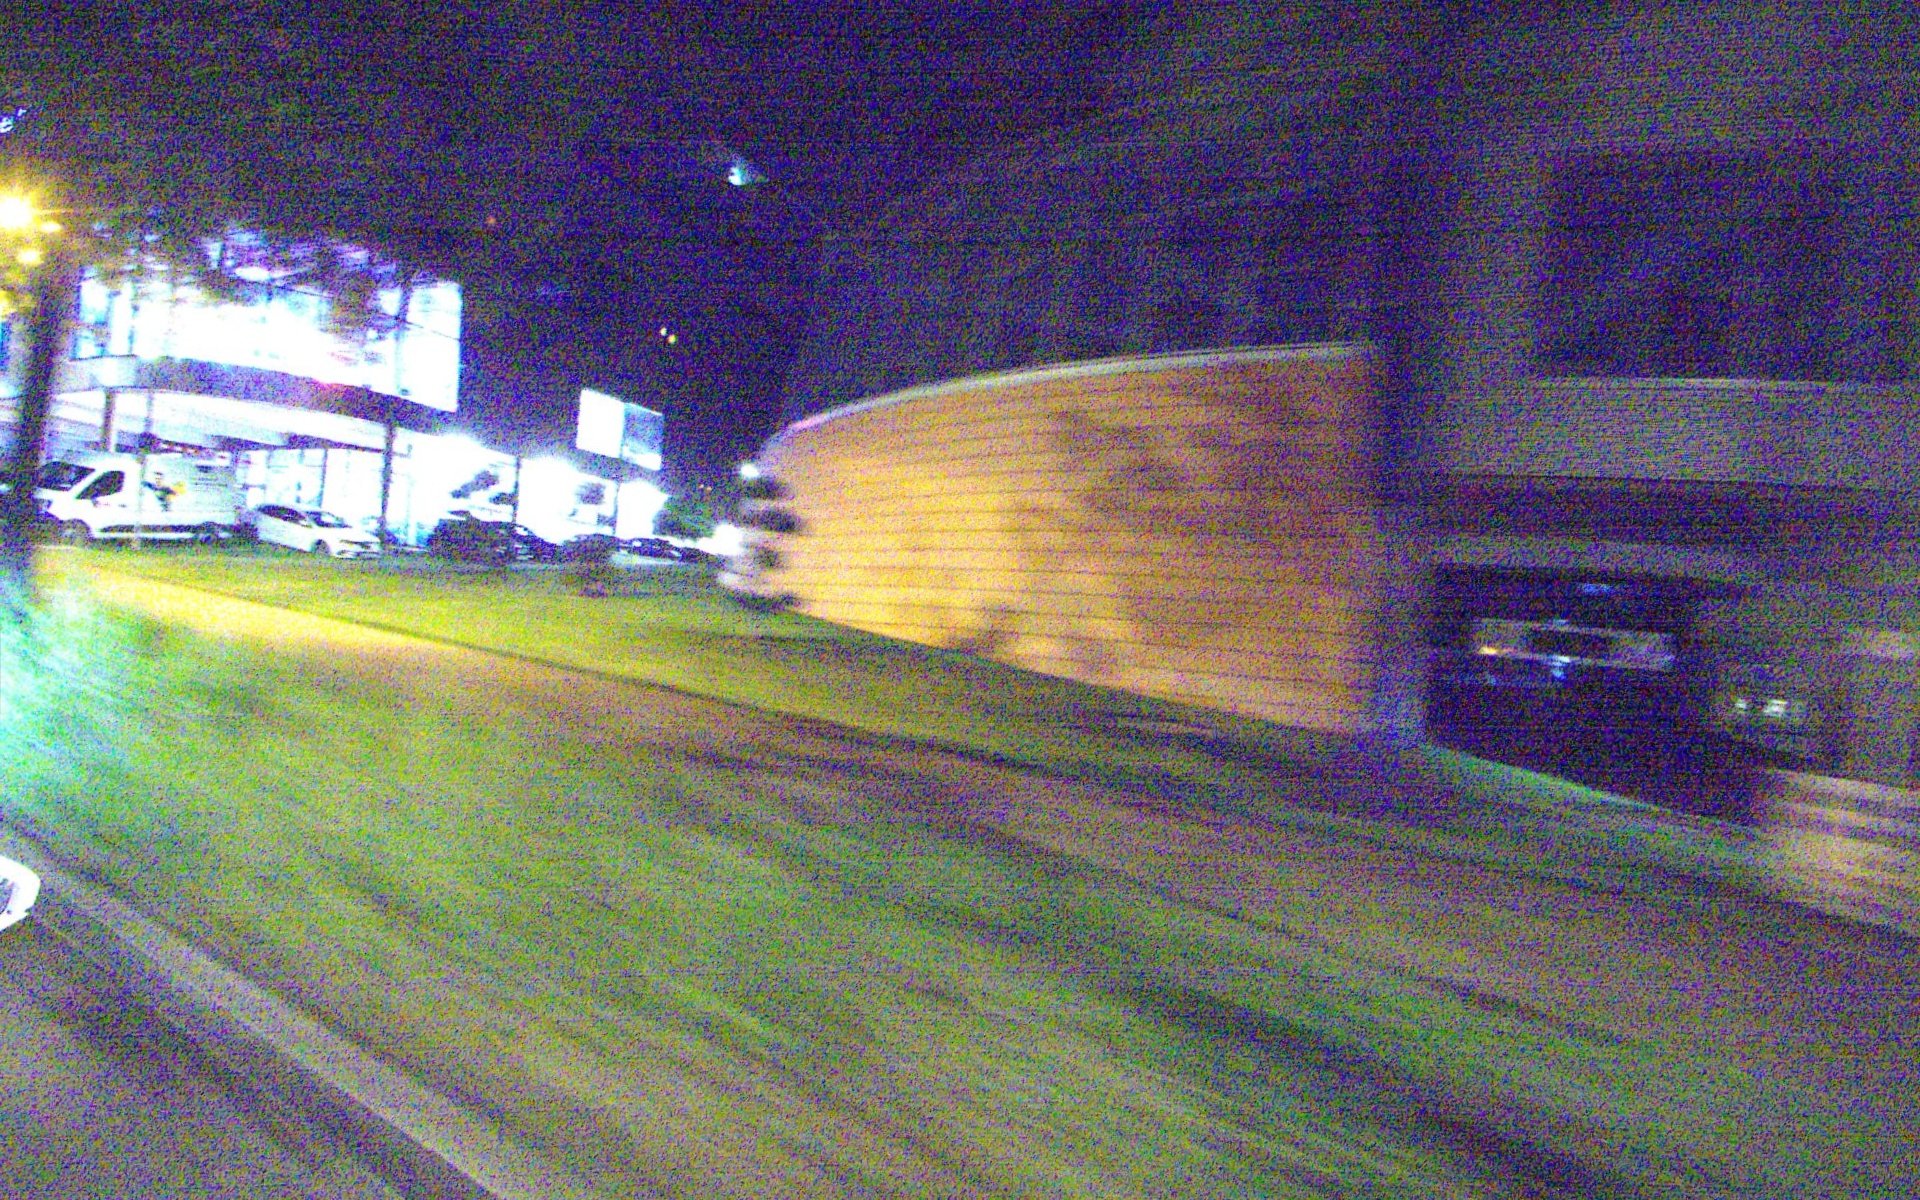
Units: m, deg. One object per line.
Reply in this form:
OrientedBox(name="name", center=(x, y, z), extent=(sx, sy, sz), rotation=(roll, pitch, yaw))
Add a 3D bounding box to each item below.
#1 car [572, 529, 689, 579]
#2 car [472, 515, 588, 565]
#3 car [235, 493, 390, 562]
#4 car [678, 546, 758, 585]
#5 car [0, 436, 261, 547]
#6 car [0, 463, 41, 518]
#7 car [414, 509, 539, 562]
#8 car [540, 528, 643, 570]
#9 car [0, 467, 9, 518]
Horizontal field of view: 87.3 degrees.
OrientedBox(name="car", center=(-15.267, -2.131, 46.716), extent=(4.578, 1.681, 2.002), rotation=(6, -1, 8))
OrientedBox(name="car", center=(-17.472, -2.431, 40.939), extent=(3.891, 1.624, 1.780), rotation=(6, 4, 8))
OrientedBox(name="car", center=(-20.851, -2.316, 32.478), extent=(3.891, 1.735, 1.810), rotation=(6, 2, 8))
OrientedBox(name="car", center=(-12.613, -1.804, 52.604), extent=(3.637, 1.621, 1.735), rotation=(6, 4, 0))
OrientedBox(name="car", center=(-23.222, -2.926, 28.096), extent=(2.240, 2.565, 6.027), rotation=(7, 4, 14))
OrientedBox(name="car", center=(-32.230, -3.708, 31.802), extent=(1.924, 1.685, 4.212), rotation=(7, 2, 20))
OrientedBox(name="car", center=(-18.418, -2.439, 38.407), extent=(3.891, 1.600, 1.797), rotation=(6, 4, 8))
OrientedBox(name="car", center=(-16.135, -2.222, 44.082), extent=(3.804, 1.353, 1.657), rotation=(6, 1, 8))
OrientedBox(name="car", center=(-36.323, -4.040, 34.811), extent=(1.963, 1.833, 4.471), rotation=(7, 1, 20))
